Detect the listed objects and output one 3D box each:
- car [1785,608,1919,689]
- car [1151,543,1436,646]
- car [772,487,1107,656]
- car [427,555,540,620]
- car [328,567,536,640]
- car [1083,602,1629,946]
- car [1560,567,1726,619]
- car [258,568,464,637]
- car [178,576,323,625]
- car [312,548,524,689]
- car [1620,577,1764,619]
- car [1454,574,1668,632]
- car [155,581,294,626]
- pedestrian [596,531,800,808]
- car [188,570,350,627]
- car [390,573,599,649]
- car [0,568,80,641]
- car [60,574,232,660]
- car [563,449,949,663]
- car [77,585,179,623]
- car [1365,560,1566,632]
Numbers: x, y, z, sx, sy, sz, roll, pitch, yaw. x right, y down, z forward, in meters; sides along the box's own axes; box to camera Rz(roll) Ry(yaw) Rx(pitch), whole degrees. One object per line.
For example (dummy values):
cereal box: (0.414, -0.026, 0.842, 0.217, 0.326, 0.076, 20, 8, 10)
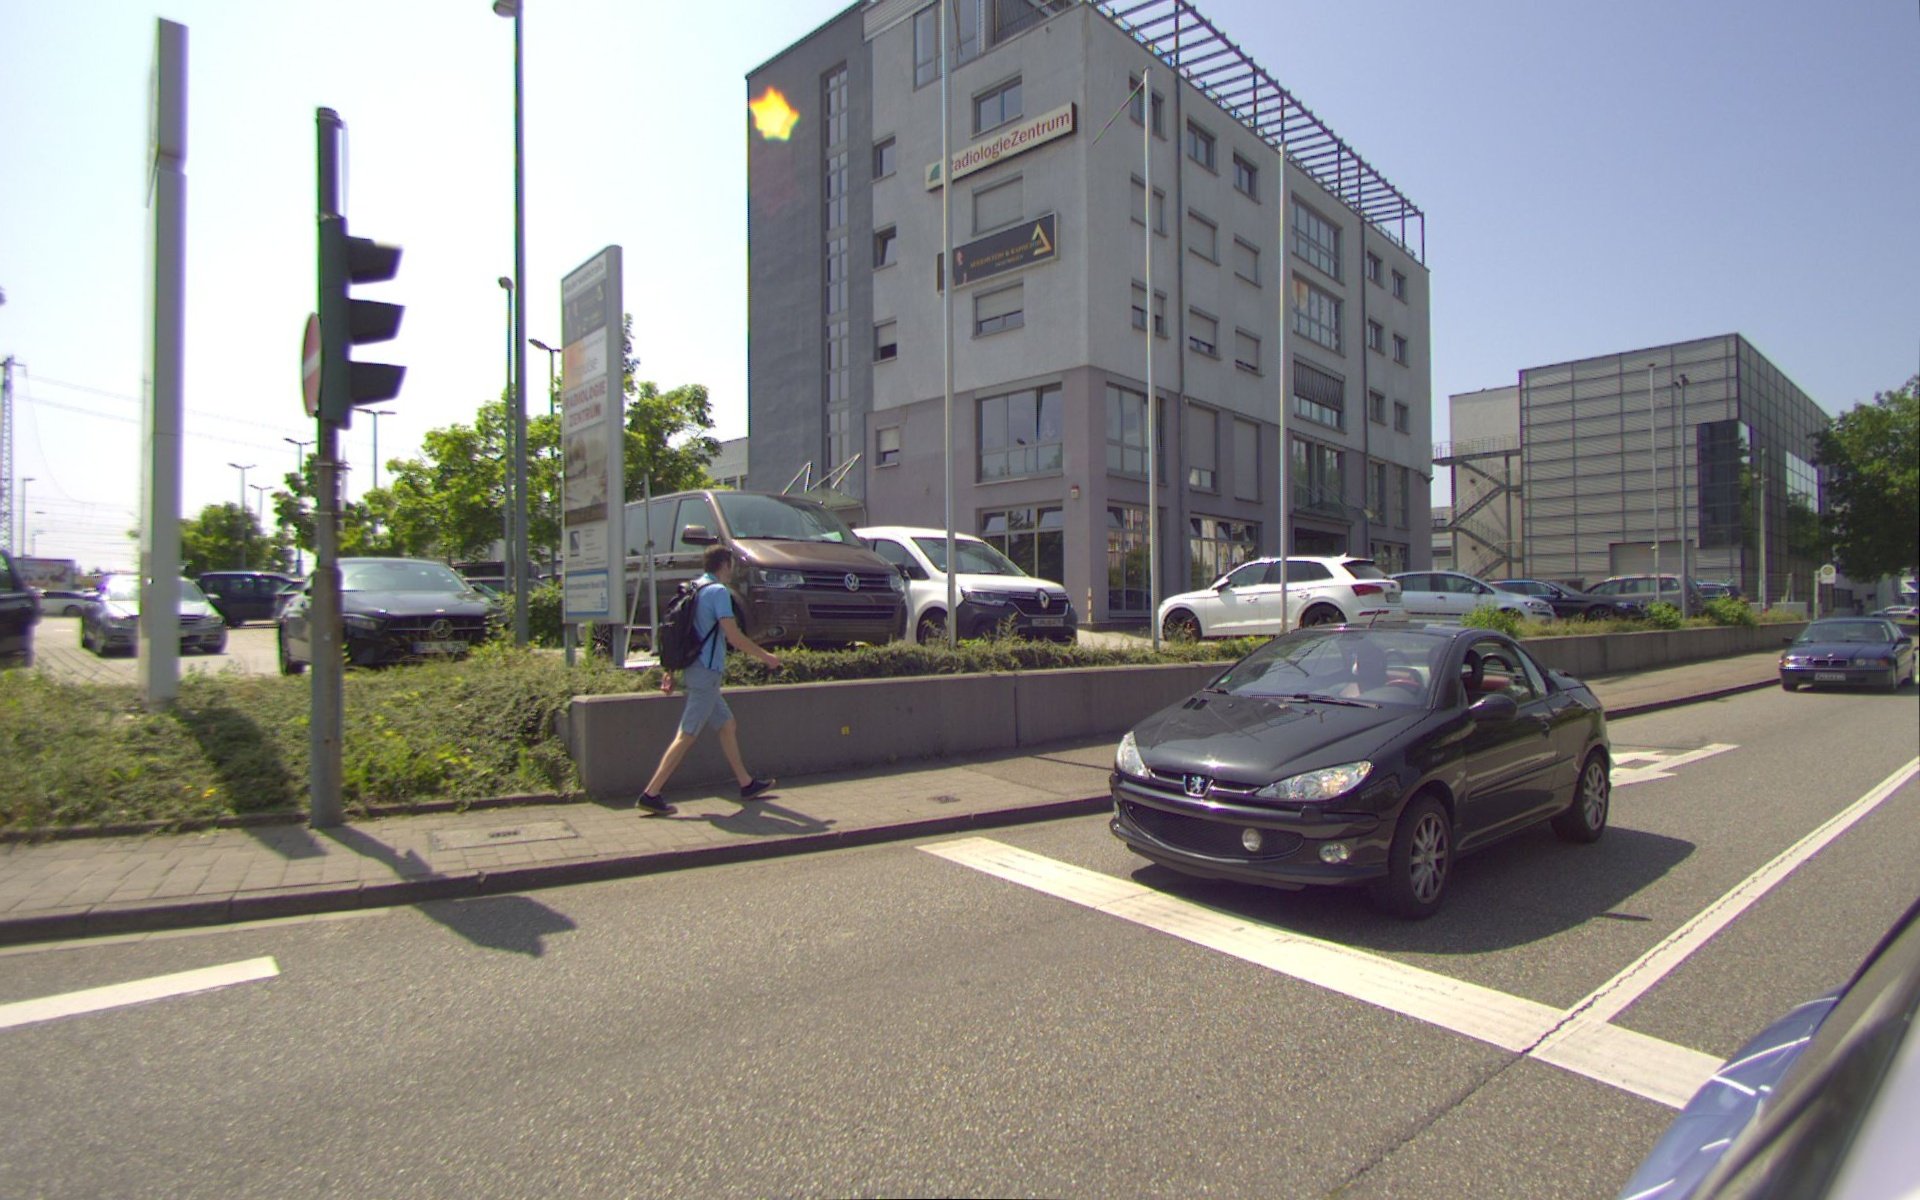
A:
car: (17.406, 0.873, 19.481, 3.887, 1.340, 1.709, -1, -2, -41)
car: (5.943, -0.037, 18.418, 2.063, 1.630, 4.464, -1, -1, -45)
car: (-0.447, -0.236, 13.150, 1.965, 1.721, 4.416, -1, -3, -40)
car: (-16.950, -0.410, 36.152, 3.358, 2.222, 1.676, 1, -2, -14)
car: (-12.331, 0.062, 23.890, 4.104, 1.620, 1.676, -1, 0, -17)
car: (2.478, 0.726, 5.959, 3.440, 1.373, 1.639, 0, 1, -42)
car: (21.970, -0.192, 32.676, 1.728, 1.505, 4.131, -1, -1, -42)
car: (-16.331, 0.059, 27.895, 4.648, 1.734, 2.003, -1, -1, -23)
car: (-25.021, 0.001, 35.830, 3.916, 1.660, 1.725, 0, 0, -23)
car: (-6.446, 0.154, 11.827, 1.723, 1.356, 3.883, 0, 0, -35)
car: (27.670, -0.075, 38.346, 1.728, 1.505, 4.132, -1, 0, -42)
car: (16.448, 0.121, 27.874, 1.771, 1.399, 4.748, -1, -2, -45)
car: (-27.551, 0.119, 38.050, 3.916, 1.616, 1.771, 0, 0, -23)
pedestrian: (-1.724, 0.409, 6.659, 0.988, 1.646, 0.829, -2, -1, -41)
car: (-22.864, -0.006, 33.651, 4.104, 1.812, 1.676, 1, -2, -19)
car: (-9.990, 0.214, 21.815, 3.918, 1.505, 2.003, 0, 1, -27)
car: (-22.855, 0.100, 22.994, 1.962, 1.660, 4.346, 0, 0, 0)
car: (-15.101, 0.252, 18.714, 3.982, 1.415, 1.789, 1, 1, 40)
car: (-2.479, -0.276, 11.287, 2.145, 1.821, 4.699, 0, -3, -41)
car: (-33.387, 0.149, 40.702, 2.944, 1.505, 1.363, 0, 0, -28)
car: (11.845, -0.057, 23.815, 3.974, 1.505, 1.736, -2, -1, 36)
